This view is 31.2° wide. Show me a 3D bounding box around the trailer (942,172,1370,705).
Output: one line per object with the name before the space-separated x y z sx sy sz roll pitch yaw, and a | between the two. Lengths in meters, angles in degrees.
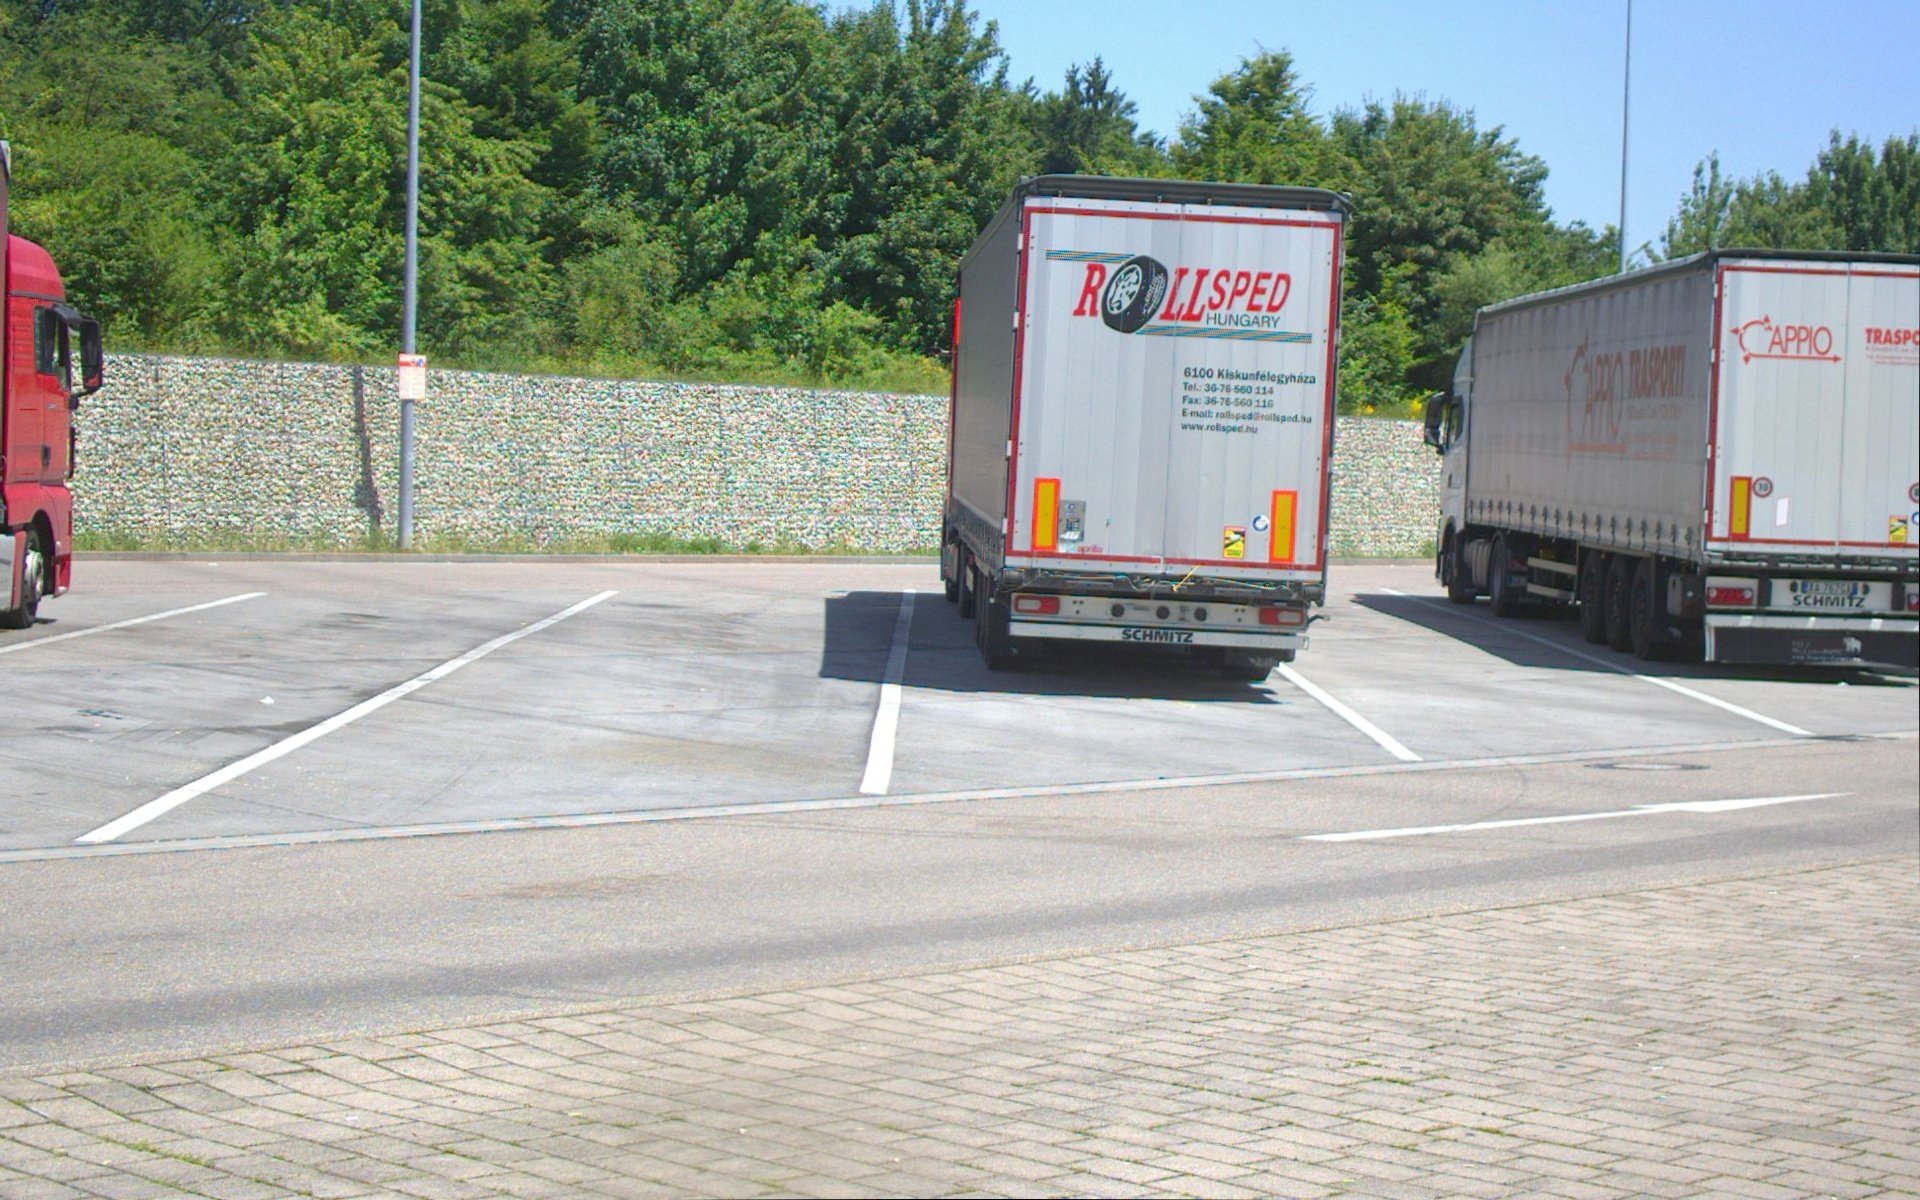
trailer | 1.459 -1.568 33.126 2.858 3.958 13.765 2 3 -1

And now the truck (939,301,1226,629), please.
truck | 1.275 -1.573 39.327 2.865 3.351 5.975 2 3 -1

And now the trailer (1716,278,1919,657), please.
trailer | 11.785 -1.502 39.392 2.858 4.095 13.765 2 3 -1

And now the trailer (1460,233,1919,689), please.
trailer | 8.188 -1.587 38.380 2.858 4.095 13.765 2 3 -1

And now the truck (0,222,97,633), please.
truck | -9.252 -1.457 28.204 2.812 3.351 5.975 2 3 -1

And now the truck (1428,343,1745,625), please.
truck | 8.086 -1.567 45.146 2.865 3.351 5.975 2 3 -1

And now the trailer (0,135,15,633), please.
trailer | -9.165 -1.467 21.385 2.821 4.057 13.765 2 3 -1
